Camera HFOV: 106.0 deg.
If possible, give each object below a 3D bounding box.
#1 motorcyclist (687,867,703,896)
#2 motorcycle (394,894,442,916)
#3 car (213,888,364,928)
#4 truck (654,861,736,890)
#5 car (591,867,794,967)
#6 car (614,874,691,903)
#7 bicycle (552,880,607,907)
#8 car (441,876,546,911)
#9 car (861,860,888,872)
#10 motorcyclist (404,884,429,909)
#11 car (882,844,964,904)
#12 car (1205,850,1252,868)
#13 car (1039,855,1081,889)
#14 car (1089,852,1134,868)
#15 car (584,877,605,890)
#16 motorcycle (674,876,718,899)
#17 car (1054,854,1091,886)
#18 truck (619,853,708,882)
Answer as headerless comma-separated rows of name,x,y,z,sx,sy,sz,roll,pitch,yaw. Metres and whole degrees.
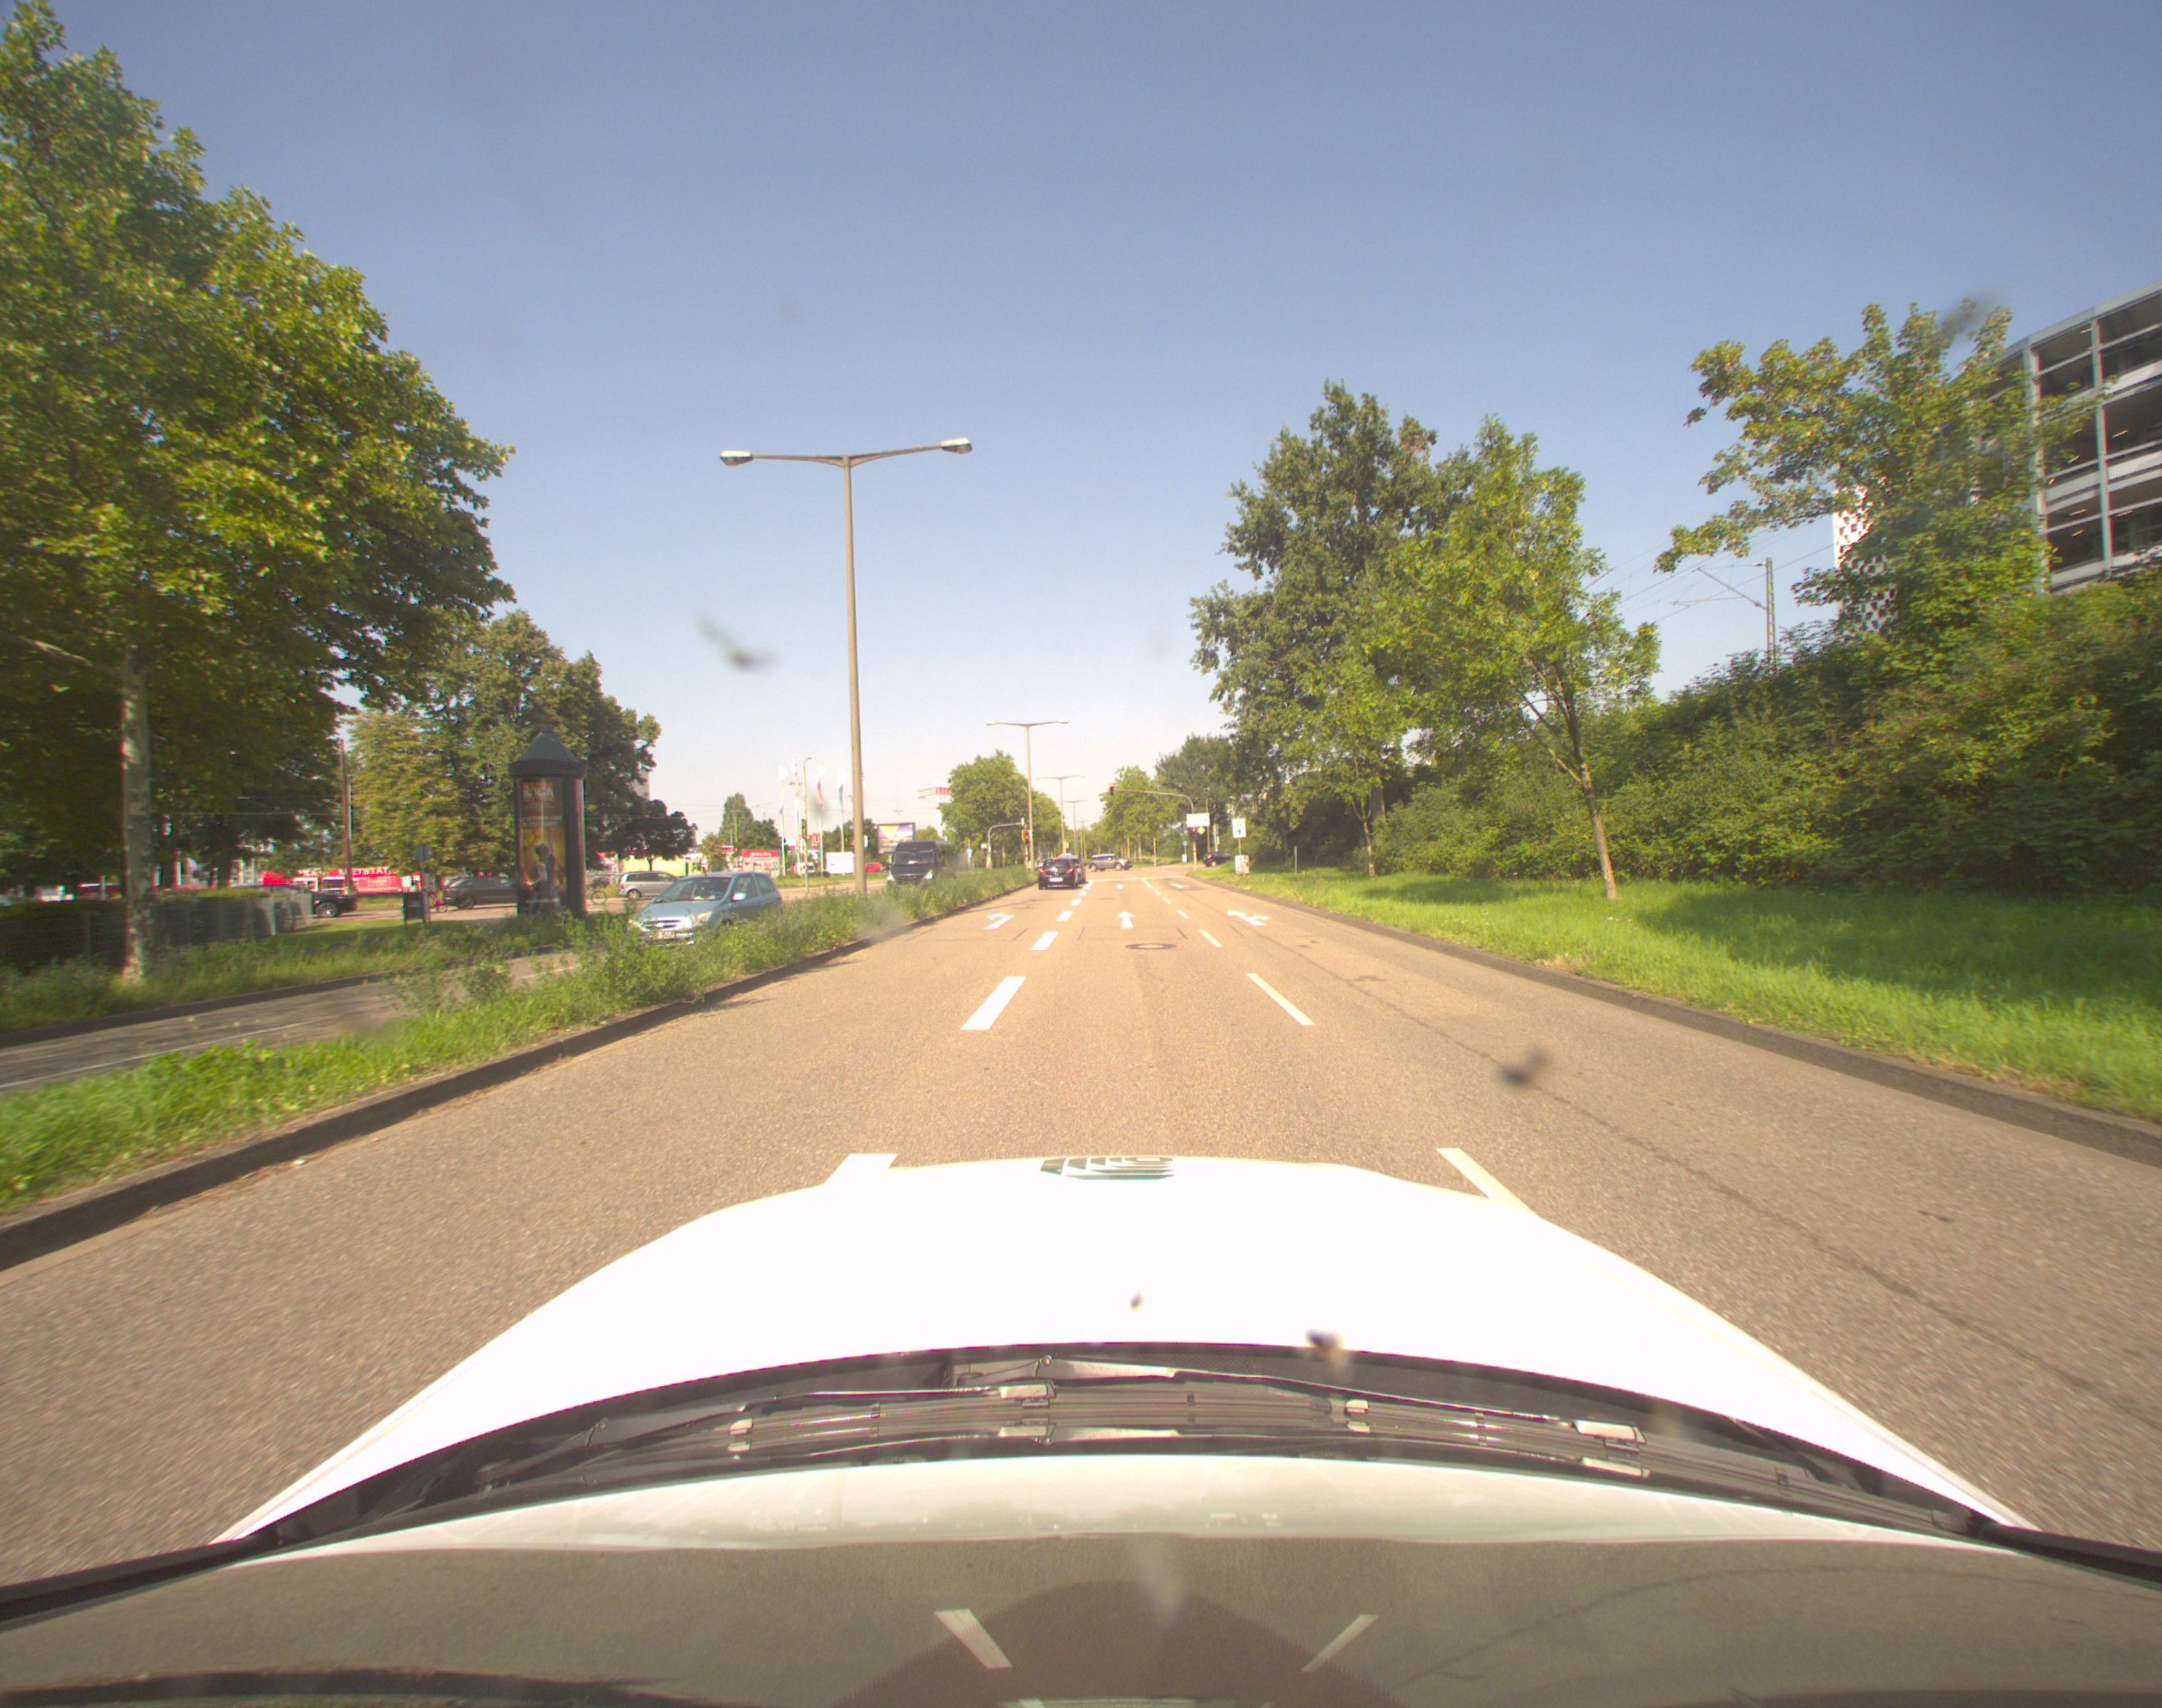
motorcyclist,-21.198,1.494,44.728,0.686,1.572,0.676,-1,-1,-34
motorcycle,-31.833,2.436,39.122,1.727,0.945,0.704,-1,-1,-33
car,-36.433,2.436,37.637,4.766,1.443,1.555,-2,0,-34
truck,-33.352,1.845,70.497,5.962,2.329,2.105,-2,-1,-1
car,-7.163,1.087,15.521,1.766,1.574,4.003,-2,-1,3
car,-24.268,1.914,46.186,3.717,1.443,1.451,-1,-1,-34
bicycle,-25.620,2.016,41.646,2.370,1.235,0.865,-1,-1,-34
car,-30.205,2.006,42.001,4.330,1.579,1.555,-1,-1,-36
car,-37.880,2.171,149.231,4.304,2.014,1.980,-1,-1,-31
motorcyclist,-31.892,2.039,39.106,0.833,1.178,0.684,-1,-1,-33
car,-6.755,0.814,35.604,2.104,2.333,6.285,-2,0,2
car,13.712,0.445,75.817,3.955,1.533,1.820,-2,-1,-5
car,-0.921,0.826,38.160,1.685,1.486,4.002,-1,0,2
car,2.847,0.567,77.054,3.928,1.486,1.635,-1,0,30
car,-47.824,2.865,80.072,1.616,1.135,3.383,-1,-1,-30
motorcycle,-21.153,1.840,44.745,2.084,1.136,0.670,-1,-1,-33
car,-0.387,0.801,42.889,1.685,1.486,4.002,-3,0,2
truck,-49.912,1.634,97.434,9.050,2.958,3.477,-3,0,-34
